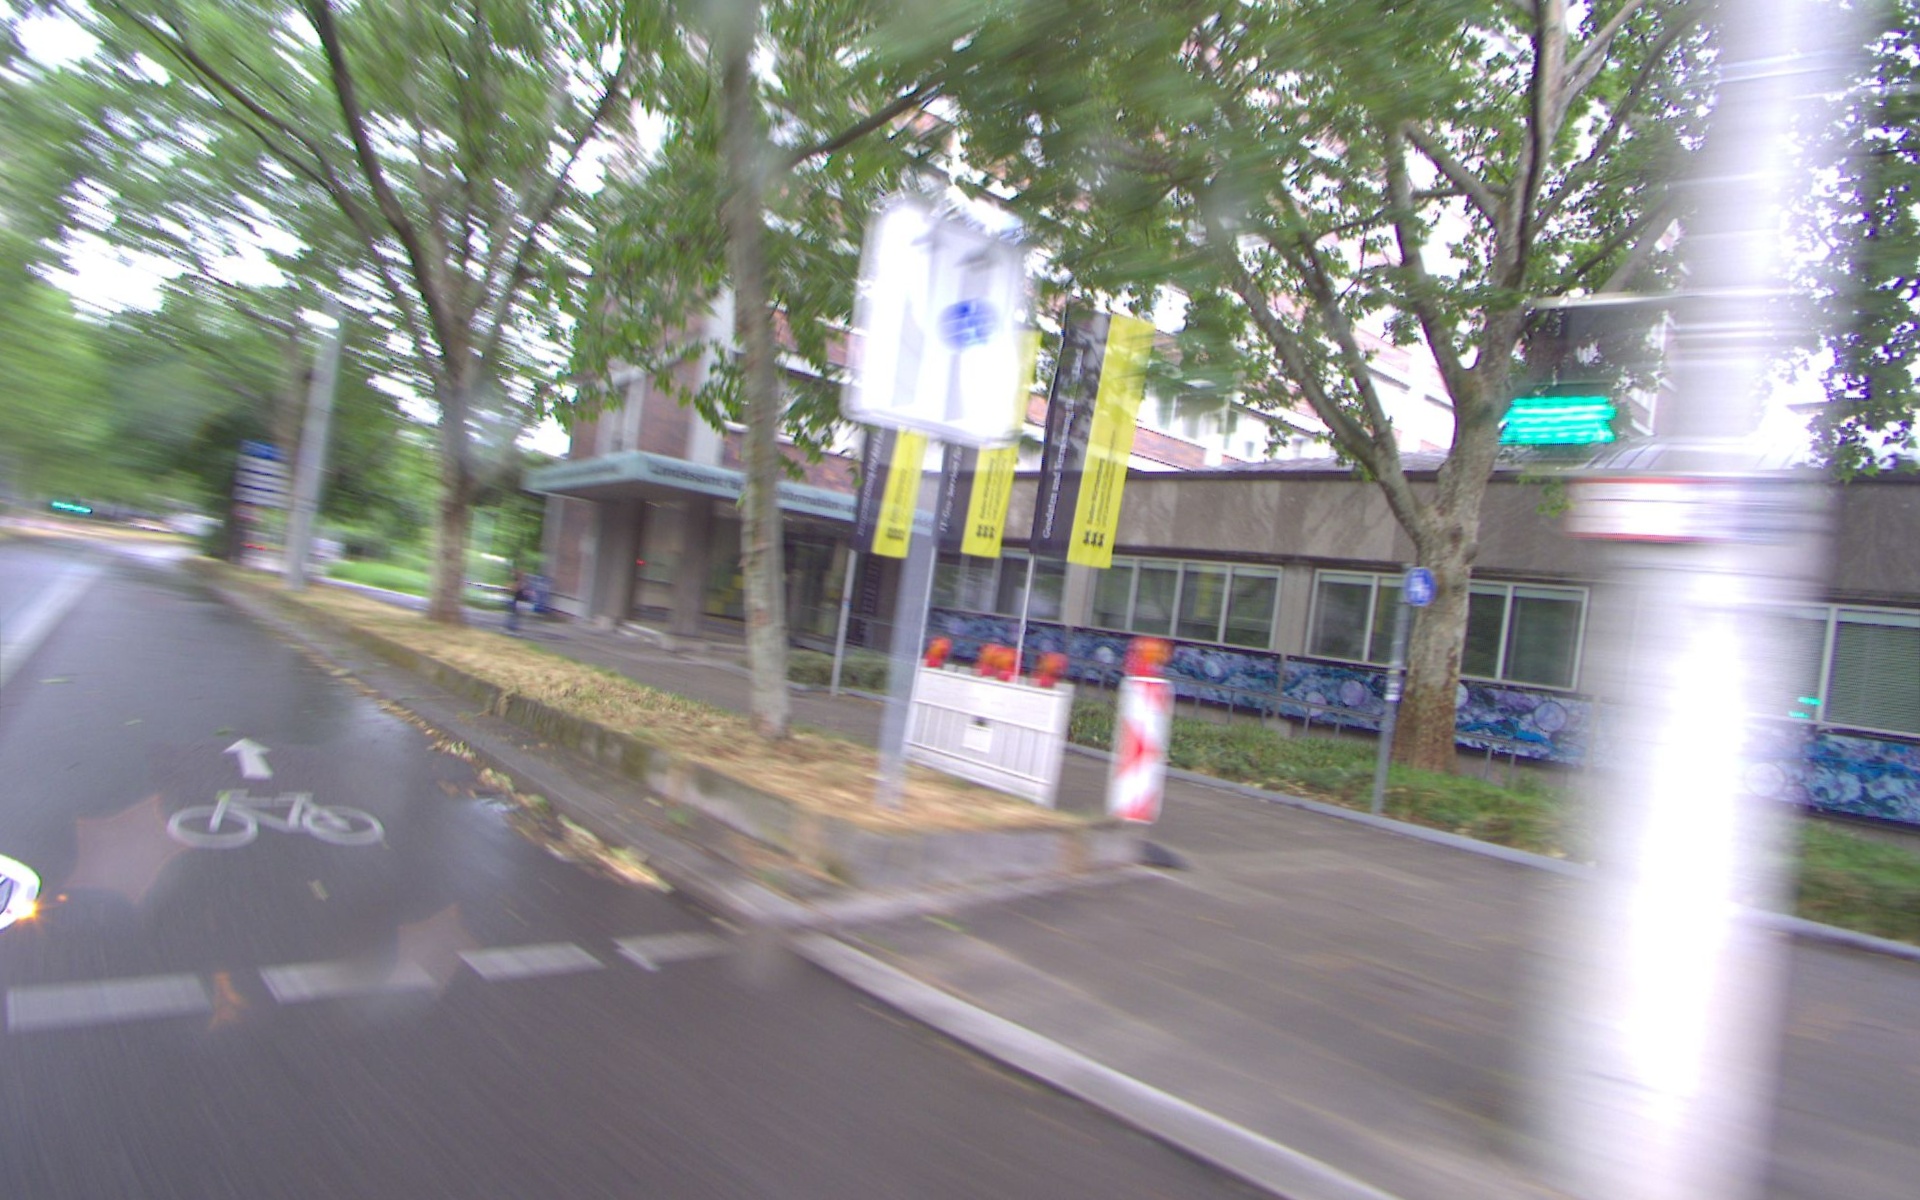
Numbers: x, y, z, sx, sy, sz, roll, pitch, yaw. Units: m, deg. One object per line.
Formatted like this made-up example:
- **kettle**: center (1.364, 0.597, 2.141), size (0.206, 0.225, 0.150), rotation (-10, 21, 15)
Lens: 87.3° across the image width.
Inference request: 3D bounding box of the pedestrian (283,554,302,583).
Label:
- **pedestrian**: center (-40.414, -1.914, 60.907), size (0.701, 1.658, 0.924), rotation (8, -2, -41)

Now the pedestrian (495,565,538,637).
- **pedestrian**: center (-10.760, 0.018, 24.401), size (0.519, 1.658, 0.924), rotation (8, -2, -41)

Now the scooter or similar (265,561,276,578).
- **scooter or similar**: center (-42.900, -1.901, 62.597), size (0.291, 1.037, 1.053), rotation (8, -2, -41)
